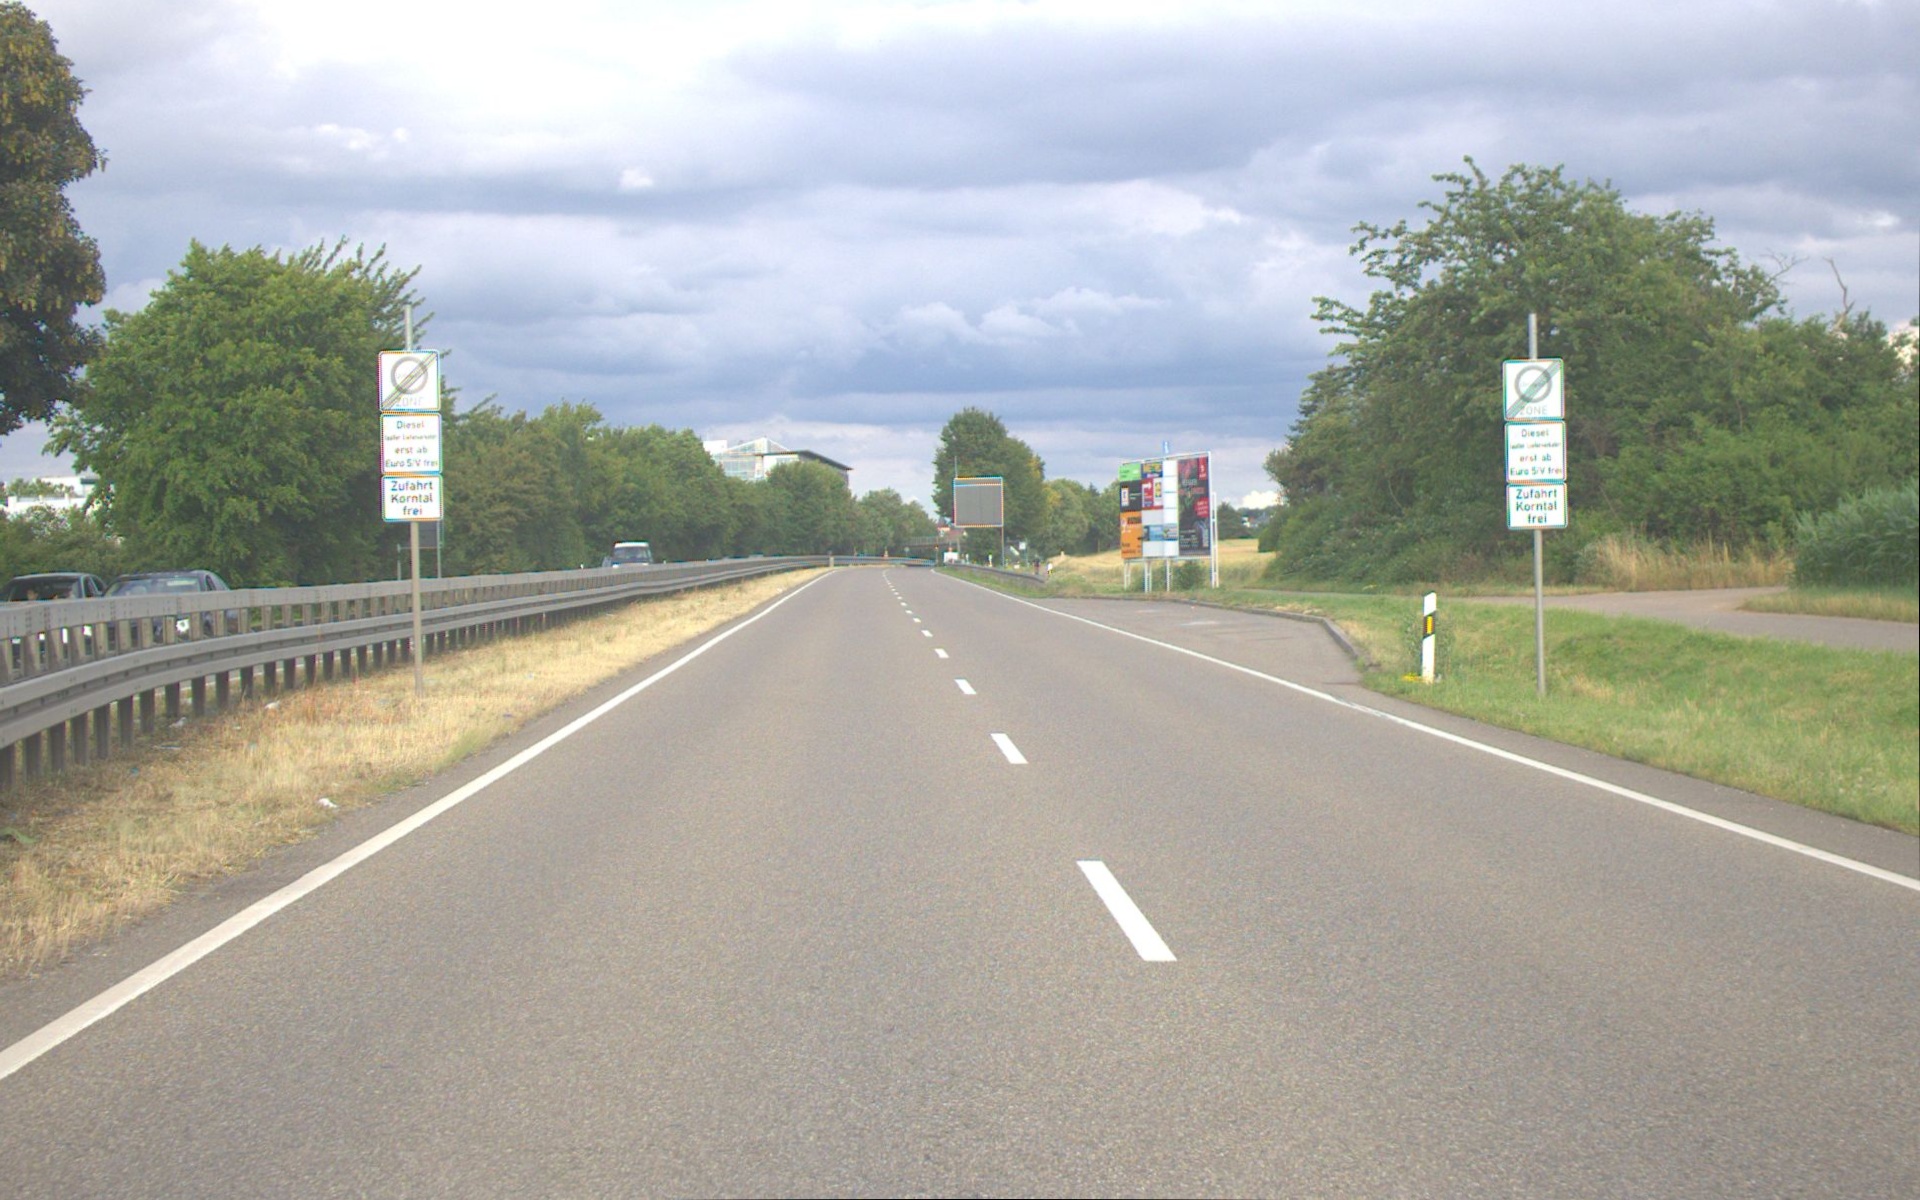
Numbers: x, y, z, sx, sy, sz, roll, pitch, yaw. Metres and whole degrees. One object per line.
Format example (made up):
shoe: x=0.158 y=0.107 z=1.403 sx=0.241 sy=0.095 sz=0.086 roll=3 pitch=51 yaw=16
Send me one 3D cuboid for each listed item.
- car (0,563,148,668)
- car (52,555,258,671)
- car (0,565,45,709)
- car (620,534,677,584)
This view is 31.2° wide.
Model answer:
car: x=-14.521 y=0.229 z=55.596 sx=1.866 sy=1.558 sz=4.152 roll=-2 pitch=1 yaw=-2
car: x=-11.358 y=0.146 z=48.822 sx=1.866 sy=1.472 sz=4.936 roll=-2 pitch=1 yaw=-2
car: x=-10.871 y=0.424 z=35.092 sx=1.866 sy=1.472 sz=4.826 roll=-2 pitch=1 yaw=-2
car: x=-14.100 y=-1.884 z=155.827 sx=1.993 sy=2.133 sz=5.319 roll=-2 pitch=1 yaw=0
